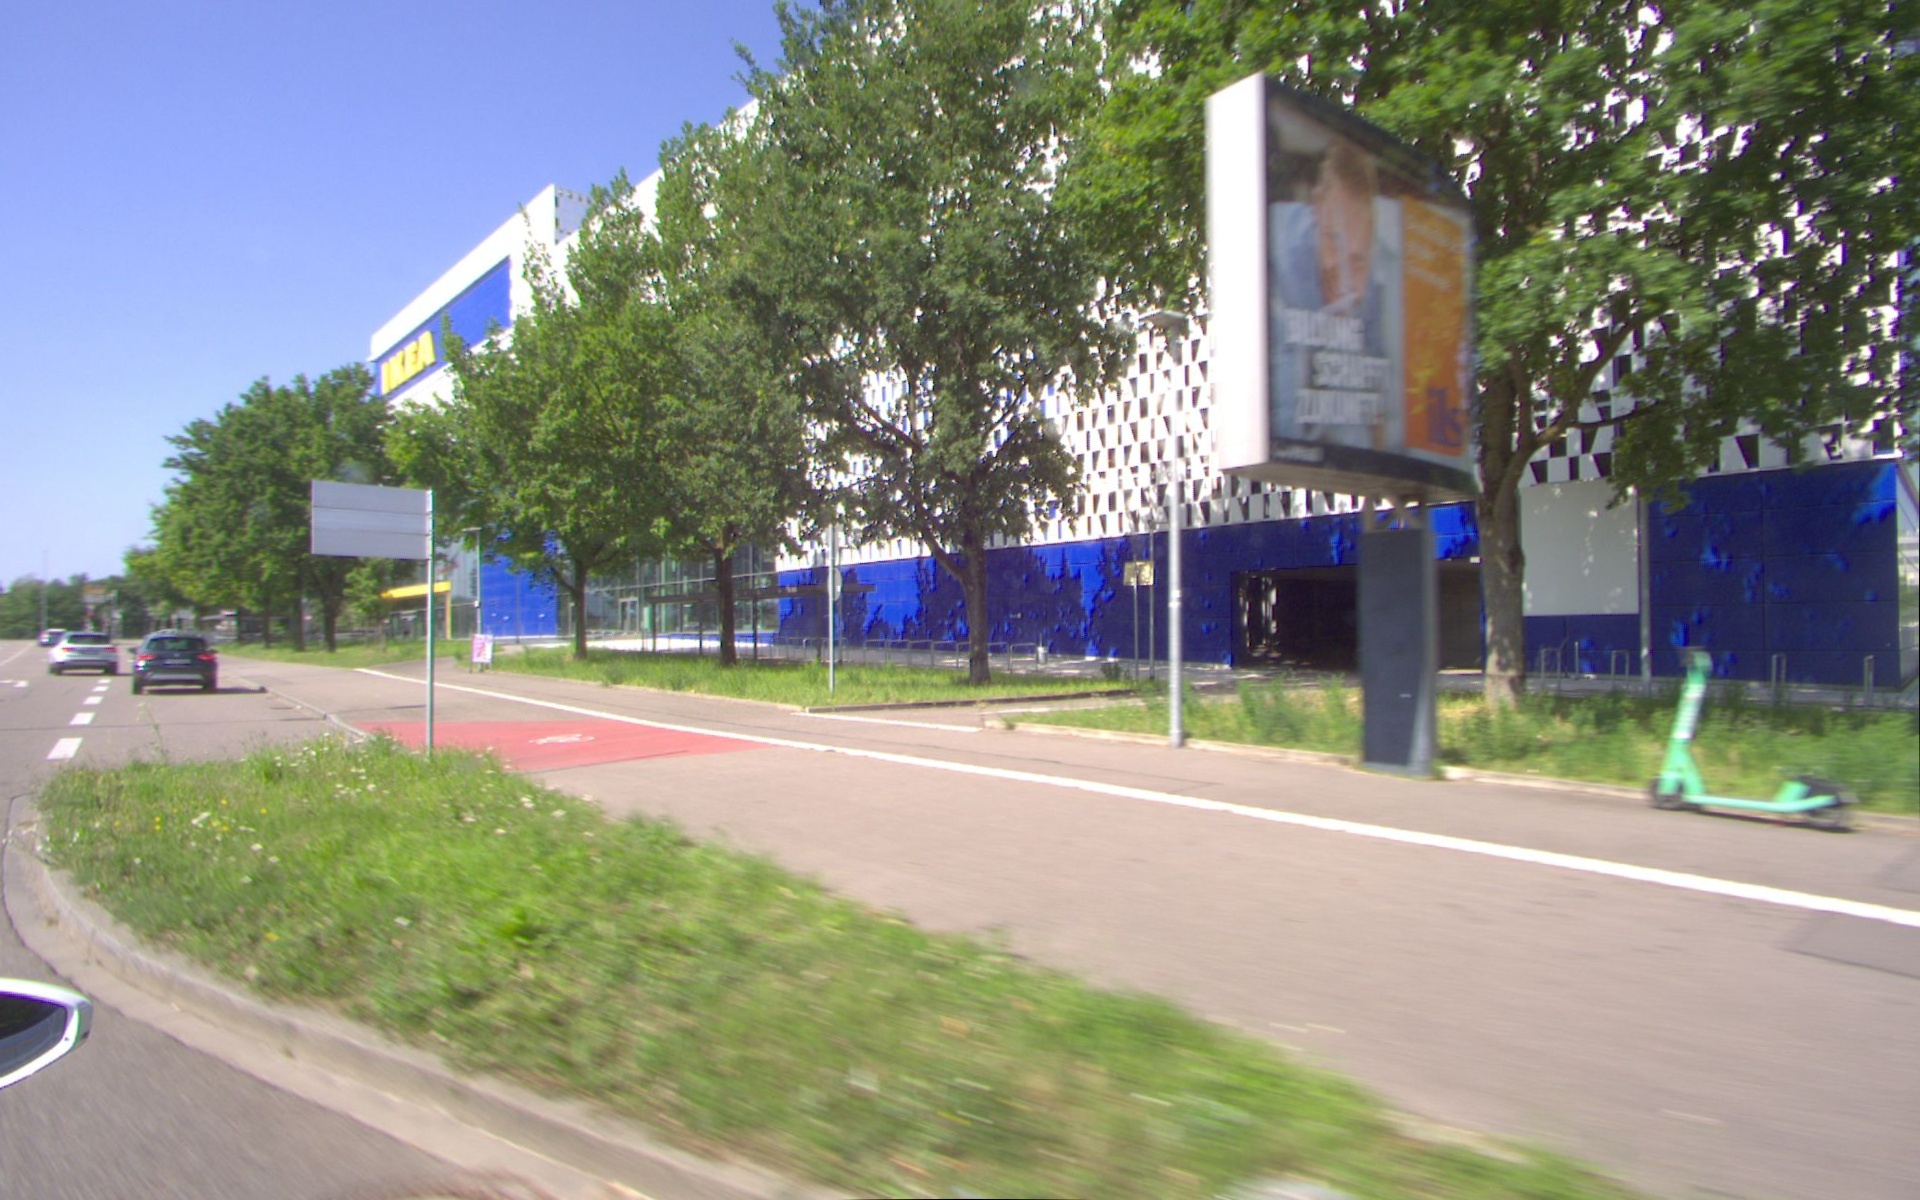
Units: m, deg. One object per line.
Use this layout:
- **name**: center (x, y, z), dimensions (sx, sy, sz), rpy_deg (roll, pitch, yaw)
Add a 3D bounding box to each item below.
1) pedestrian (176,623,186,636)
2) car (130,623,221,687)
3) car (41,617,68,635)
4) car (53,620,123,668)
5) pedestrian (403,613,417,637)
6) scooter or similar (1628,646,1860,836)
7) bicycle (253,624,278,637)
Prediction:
- **pedestrian**: center (-90.281, 3.428, 116.012), dimensions (0.764, 1.531, 1.001), rpy_deg (0, 1, -31)
- **car**: center (-20.649, 1.406, 26.314), dimensions (1.658, 1.542, 3.346), rpy_deg (2, -2, -42)
- **car**: center (-80.950, 2.327, 89.543), dimensions (1.695, 1.594, 4.134), rpy_deg (0, -1, -44)
- **car**: center (-31.767, 1.556, 36.436), dimensions (3.828, 1.518, 1.622), rpy_deg (2, 0, 45)
- **pedestrian**: center (-37.774, 1.715, 68.779), dimensions (0.763, 1.633, 0.684), rpy_deg (0, 0, 44)
- **scooter or similar**: center (5.337, 0.913, 6.882), dimensions (0.396, 1.181, 1.180), rpy_deg (0, -2, -25)
- **bicycle**: center (-58.617, 2.593, 84.520), dimensions (1.746, 1.110, 0.448), rpy_deg (1, 0, -43)
